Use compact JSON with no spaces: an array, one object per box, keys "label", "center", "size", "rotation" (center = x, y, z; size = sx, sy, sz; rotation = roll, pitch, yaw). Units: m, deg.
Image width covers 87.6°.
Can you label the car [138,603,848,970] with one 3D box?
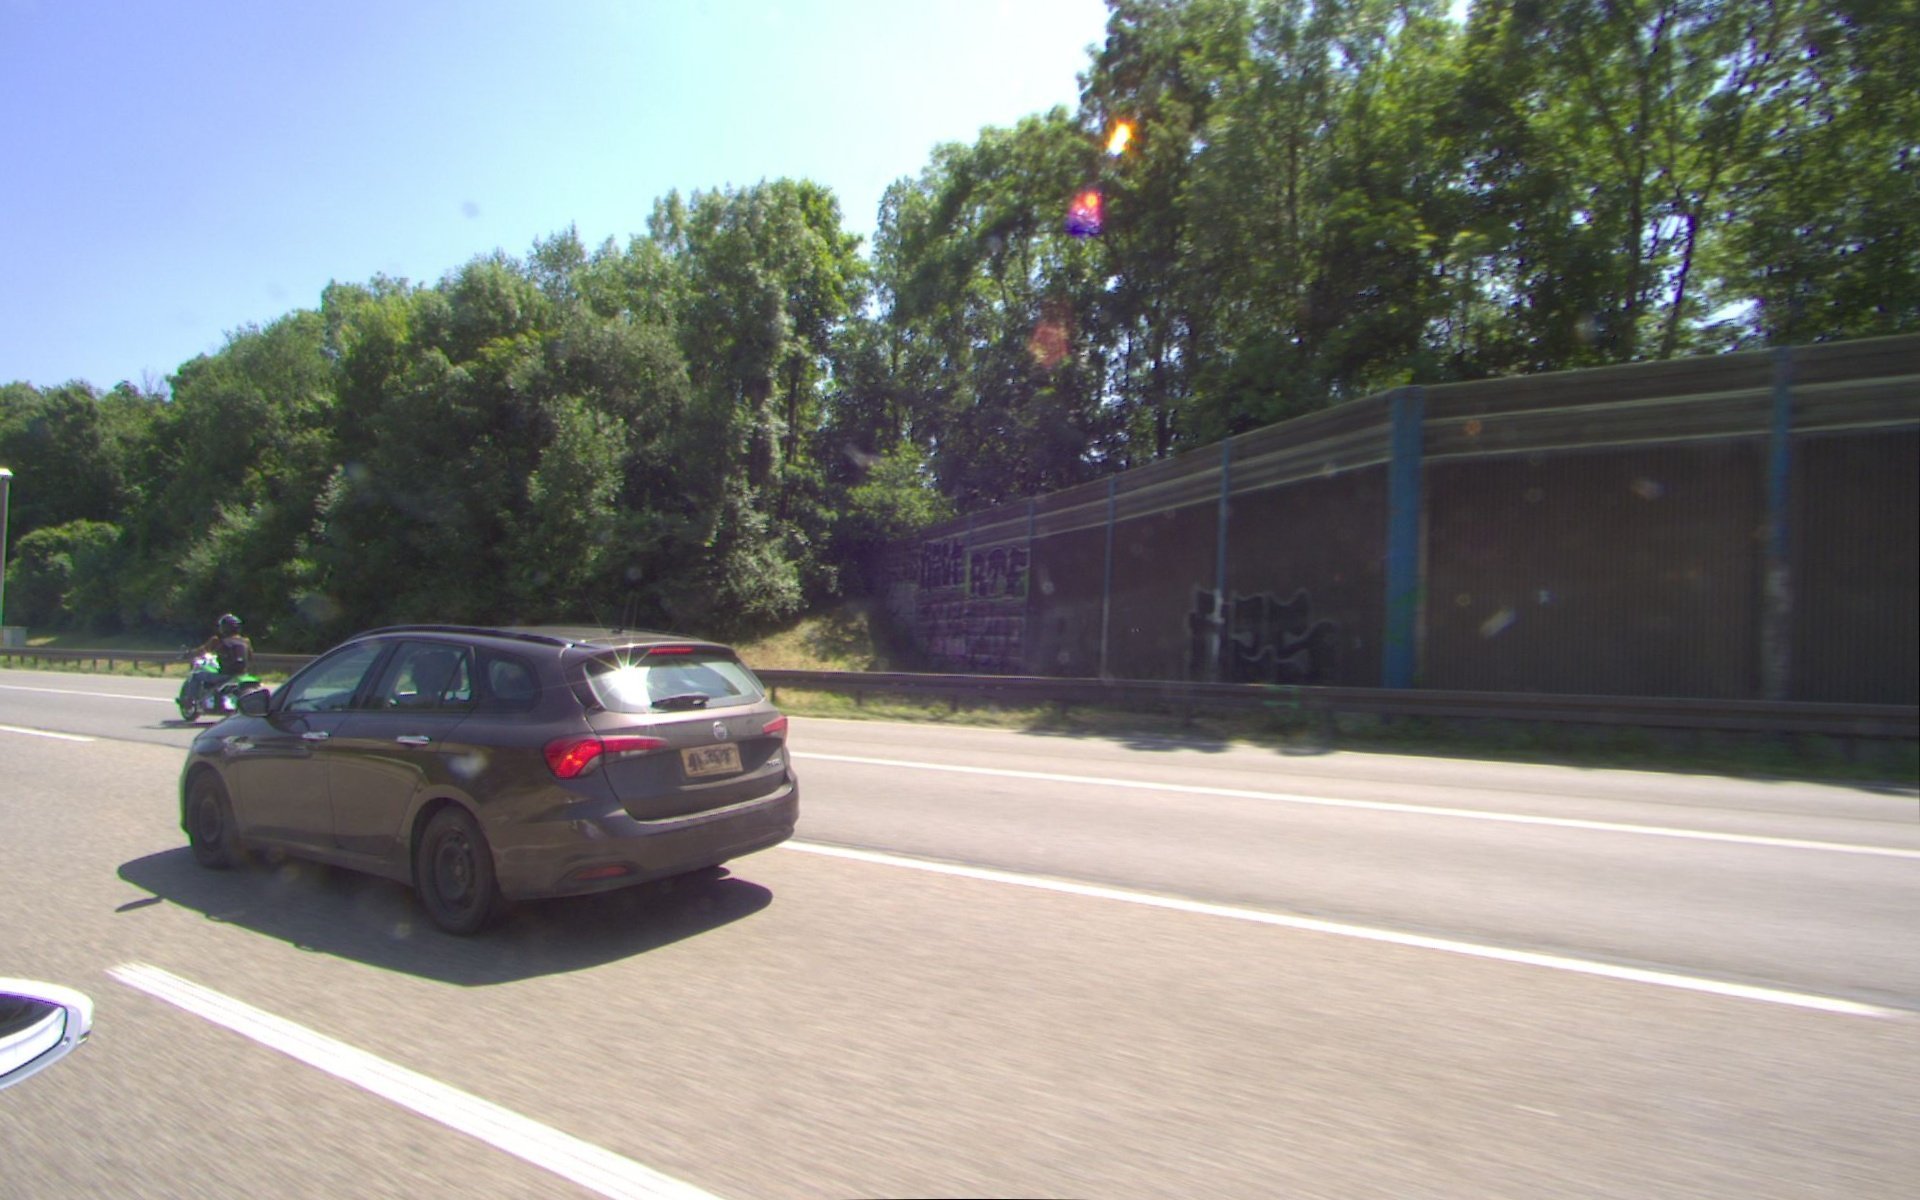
[{"label":"car","center":[-2.978,0.821,6.140],"size":[4.337,1.532,1.836],"rotation":[0,-2,31]}]

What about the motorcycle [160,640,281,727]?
[{"label":"motorcycle","center":[-11.397,1.248,15.405],"size":[2.246,1.197,0.857],"rotation":[0,-1,36]}]

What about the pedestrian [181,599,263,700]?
[{"label":"pedestrian","center":[-11.319,0.745,15.365],"size":[0.630,1.498,0.849],"rotation":[1,-1,36]}]
